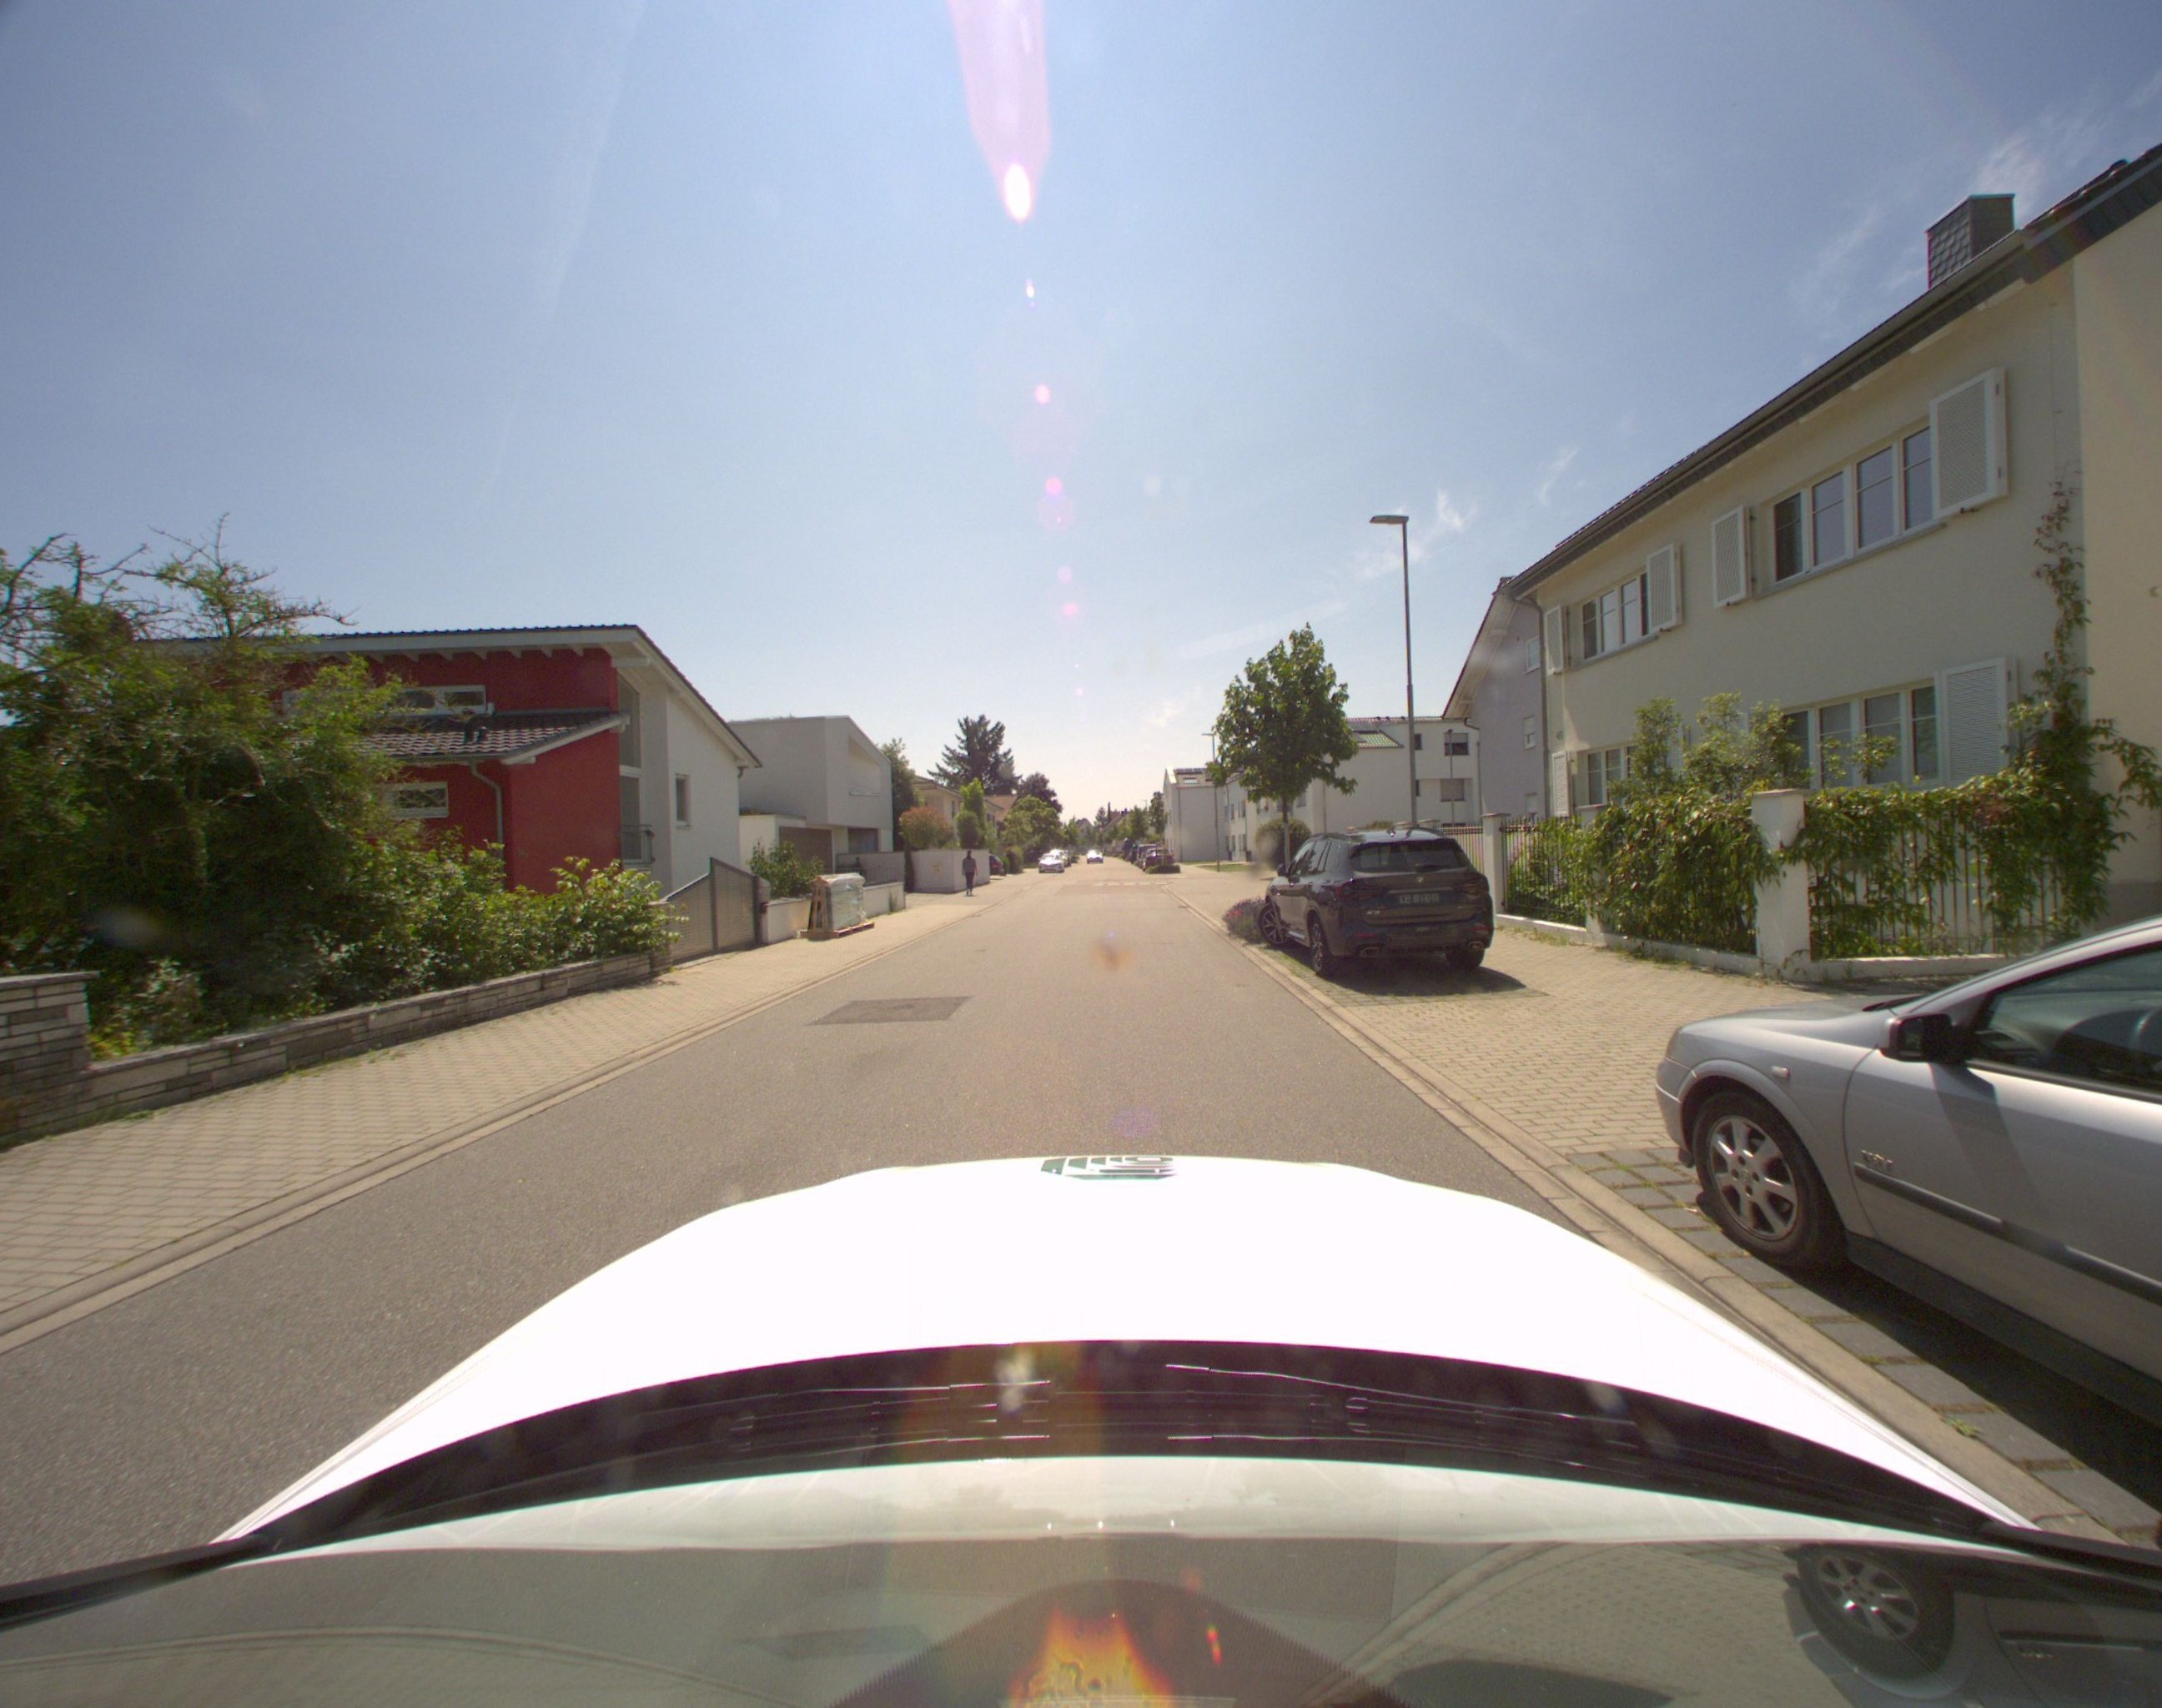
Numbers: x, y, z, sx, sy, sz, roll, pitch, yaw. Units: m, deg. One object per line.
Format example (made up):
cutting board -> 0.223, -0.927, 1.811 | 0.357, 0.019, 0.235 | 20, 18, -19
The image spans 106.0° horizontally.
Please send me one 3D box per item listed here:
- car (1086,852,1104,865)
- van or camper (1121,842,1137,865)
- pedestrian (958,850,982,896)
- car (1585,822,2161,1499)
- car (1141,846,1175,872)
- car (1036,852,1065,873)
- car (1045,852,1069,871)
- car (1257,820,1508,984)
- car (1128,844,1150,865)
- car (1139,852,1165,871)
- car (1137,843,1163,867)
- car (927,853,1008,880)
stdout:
car -> 1.682, 0.495, 97.579 | 1.845, 1.478, 4.705 | -2, 0, 4
van or camper -> 6.435, -0.095, 110.280 | 1.986, 2.941, 4.002 | -2, 0, 2
pedestrian -> -4.328, 0.723, 31.717 | 0.711, 1.747, 0.961 | -2, 0, 2
car -> 3.184, 0.632, 1.739 | 1.807, 1.420, 4.096 | -2, 0, 3
car -> 5.074, 0.320, 54.257 | 1.768, 1.595, 4.278 | -4, 0, 0
car -> -2.300, 0.652, 63.216 | 1.845, 1.488, 4.388 | -2, 0, 2
car -> -2.287, 0.728, 78.386 | 1.920, 1.687, 4.501 | -2, 0, 2
car -> 3.655, 0.473, 10.829 | 1.807, 1.656, 4.568 | -2, 1, 3
car -> 6.018, 0.053, 85.319 | 1.986, 1.947, 5.217 | -3, 0, 2
car -> 5.594, 0.567, 64.403 | 1.674, 1.441, 4.026 | -2, 0, 0
car -> 5.992, 0.071, 71.114 | 2.091, 1.882, 4.846 | -2, 0, 3
car -> -6.765, 0.706, 48.787 | 4.406, 1.473, 1.854 | 1, 0, 5
